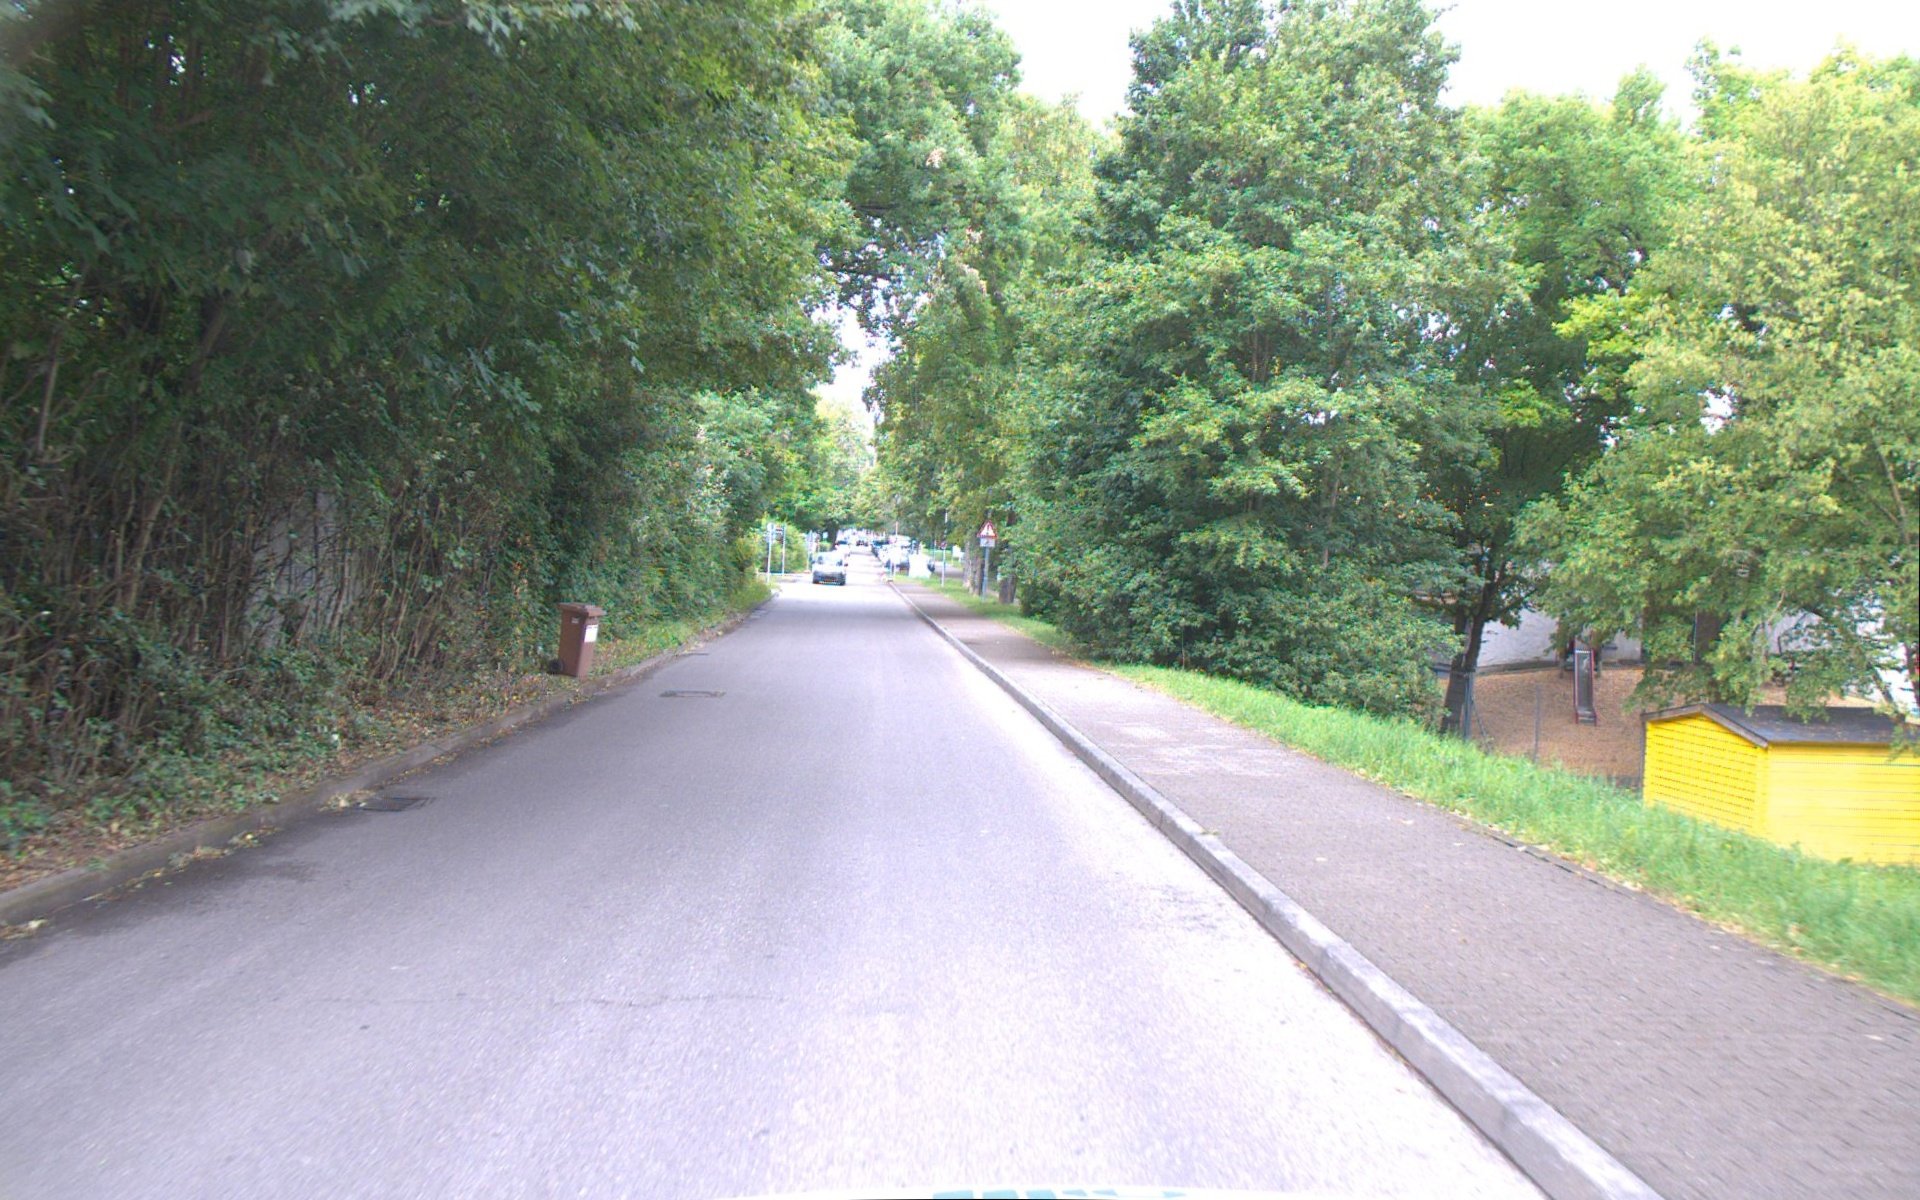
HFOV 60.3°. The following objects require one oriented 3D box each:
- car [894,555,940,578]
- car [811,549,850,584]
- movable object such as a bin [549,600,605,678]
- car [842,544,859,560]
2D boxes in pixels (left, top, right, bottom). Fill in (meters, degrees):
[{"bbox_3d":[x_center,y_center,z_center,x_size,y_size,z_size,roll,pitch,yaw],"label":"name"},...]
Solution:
[{"bbox_3d":[-3.747,-2.904,144.599,3.907,1.803,1.999,3,-1,-3],"label":"car"},{"bbox_3d":[-7.312,-1.895,93.939,1.954,1.803,3.998,3,0,-2],"label":"car"},{"bbox_3d":[-4.991,0.503,21.575,0.578,0.974,0.470,3,-1,-2],"label":"movable object such as a bin"},{"bbox_3d":[-13.650,-5.991,205.712,1.954,1.803,3.998,3,0,-2],"label":"car"}]
